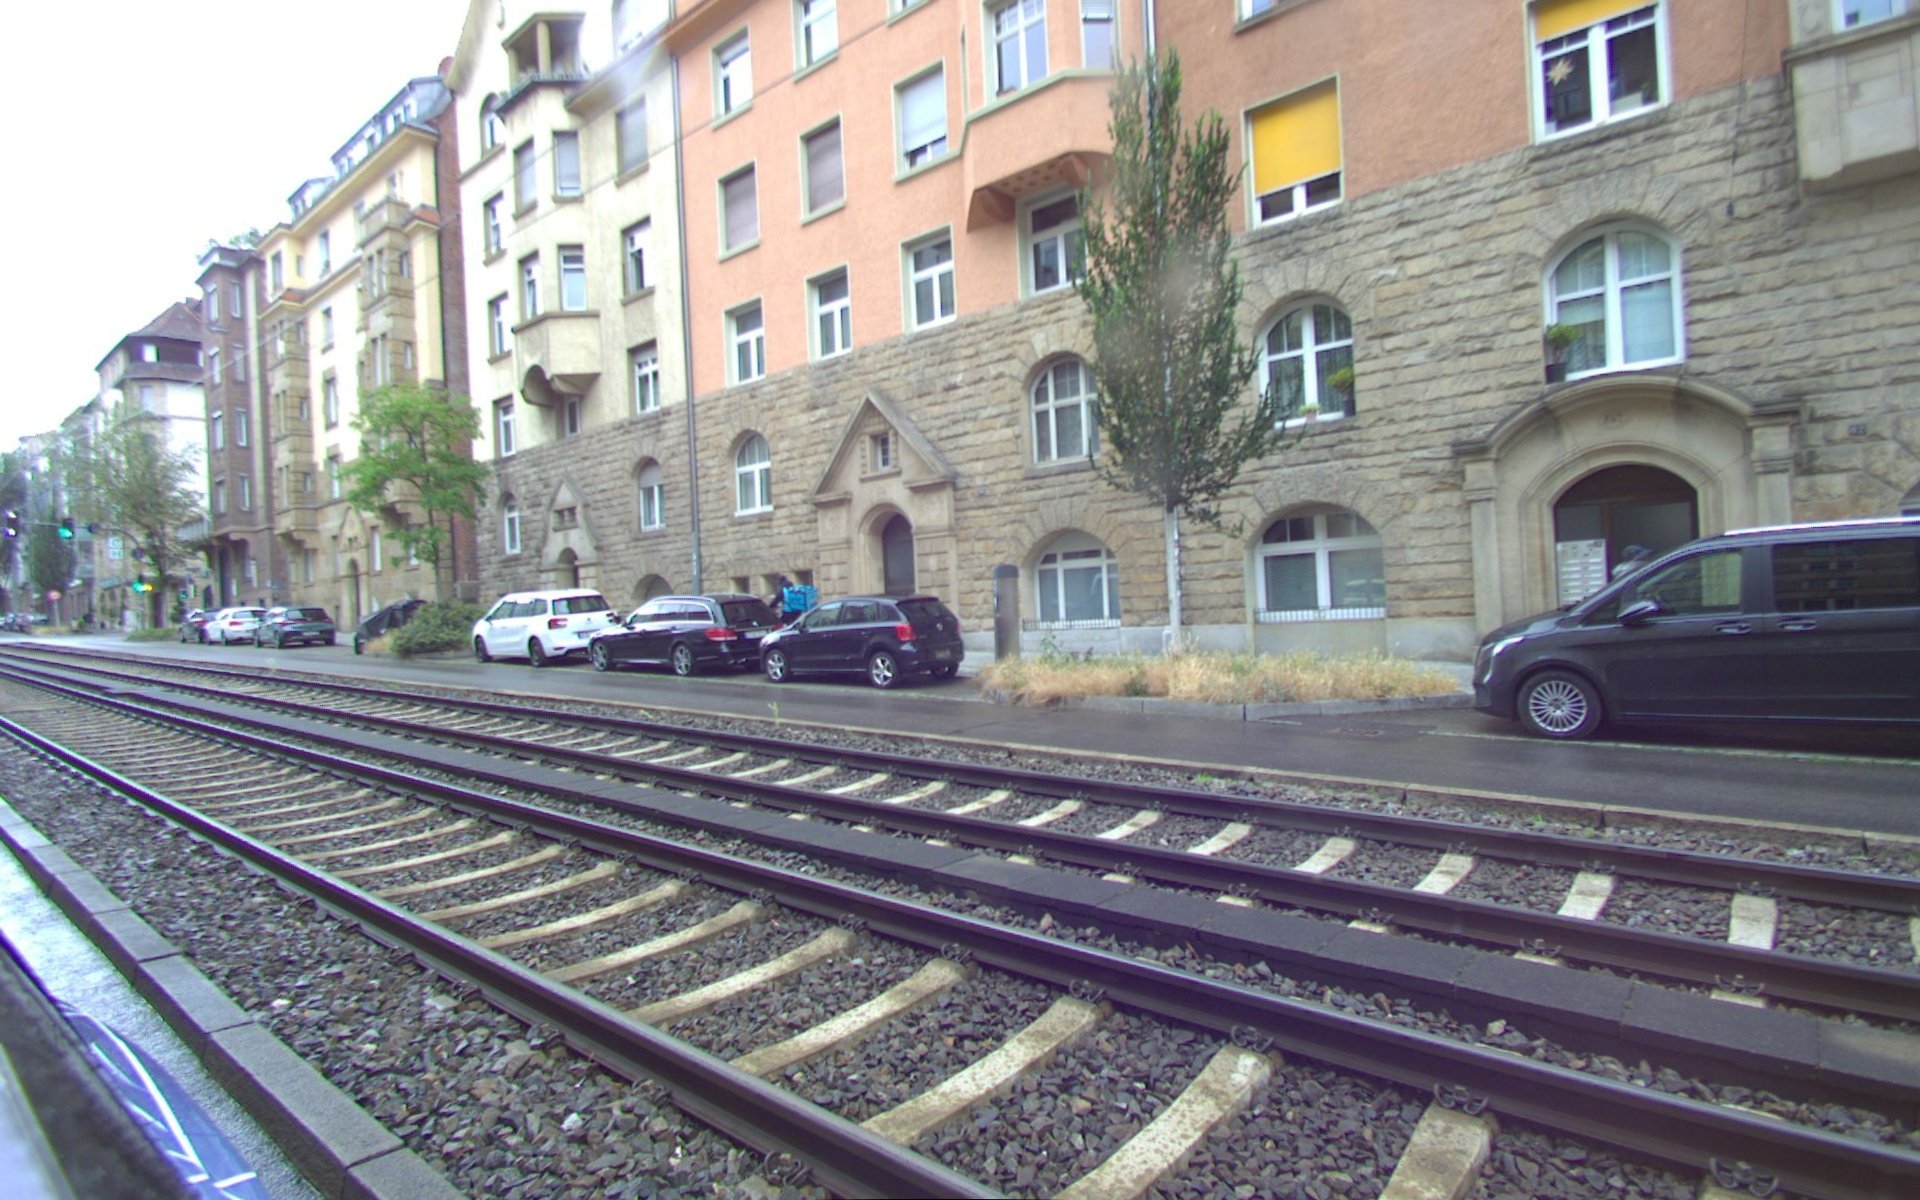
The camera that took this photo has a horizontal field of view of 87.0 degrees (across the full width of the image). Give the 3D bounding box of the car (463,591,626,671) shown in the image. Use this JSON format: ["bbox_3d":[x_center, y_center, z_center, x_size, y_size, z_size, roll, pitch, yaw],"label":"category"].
[{"bbox_3d":[-9.737,0.695,23.606,4.144,1.668,1.843,-1,0,41],"label":"car"}]

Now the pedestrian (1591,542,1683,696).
[{"bbox_3d":[7.611,0.200,11.377,0.765,1.654,0.692,-1,0,41],"label":"pedestrian"}]

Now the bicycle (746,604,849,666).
[{"bbox_3d":[-3.318,0.705,20.571,2.031,1.195,0.817,-1,0,34],"label":"bicycle"}]

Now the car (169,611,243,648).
[{"bbox_3d":[-32.135,1.256,43.082,3.843,1.452,1.748,-1,0,41],"label":"car"}]

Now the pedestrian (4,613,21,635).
[{"bbox_3d":[-88.651,2.227,94.680,1.163,1.972,1.042,-1,0,43],"label":"pedestrian"}]

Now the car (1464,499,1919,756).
[{"bbox_3d":[7.353,0.210,8.975,4.823,1.956,1.973,-1,0,41],"label":"car"}]

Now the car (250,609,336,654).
[{"bbox_3d":[-23.675,1.087,35.856,3.845,1.452,1.656,-1,1,43],"label":"car"}]

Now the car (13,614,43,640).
[{"bbox_3d":[-69.030,1.978,74.974,1.561,1.691,3.794,-2,2,-43],"label":"car"}]

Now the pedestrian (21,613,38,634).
[{"bbox_3d":[-87.875,2.218,95.593,1.163,1.972,1.042,-1,0,43],"label":"pedestrian"}]

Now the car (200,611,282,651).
[{"bbox_3d":[-28.276,1.202,39.759,4.030,1.452,1.748,-1,1,42],"label":"car"}]

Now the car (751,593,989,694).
[{"bbox_3d":[-1.549,0.662,16.911,3.638,1.508,1.912,-1,0,38],"label":"car"}]

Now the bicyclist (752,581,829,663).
[{"bbox_3d":[-3.457,0.444,20.619,1.250,1.609,0.877,-2,1,35],"label":"bicyclist"}]

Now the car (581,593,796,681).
[{"bbox_3d":[-5.430,0.690,19.932,4.599,1.506,1.824,-1,0,41],"label":"car"}]

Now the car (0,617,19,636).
[{"bbox_3d":[-80.905,2.273,85.413,3.843,1.527,1.748,-1,0,41],"label":"car"}]
